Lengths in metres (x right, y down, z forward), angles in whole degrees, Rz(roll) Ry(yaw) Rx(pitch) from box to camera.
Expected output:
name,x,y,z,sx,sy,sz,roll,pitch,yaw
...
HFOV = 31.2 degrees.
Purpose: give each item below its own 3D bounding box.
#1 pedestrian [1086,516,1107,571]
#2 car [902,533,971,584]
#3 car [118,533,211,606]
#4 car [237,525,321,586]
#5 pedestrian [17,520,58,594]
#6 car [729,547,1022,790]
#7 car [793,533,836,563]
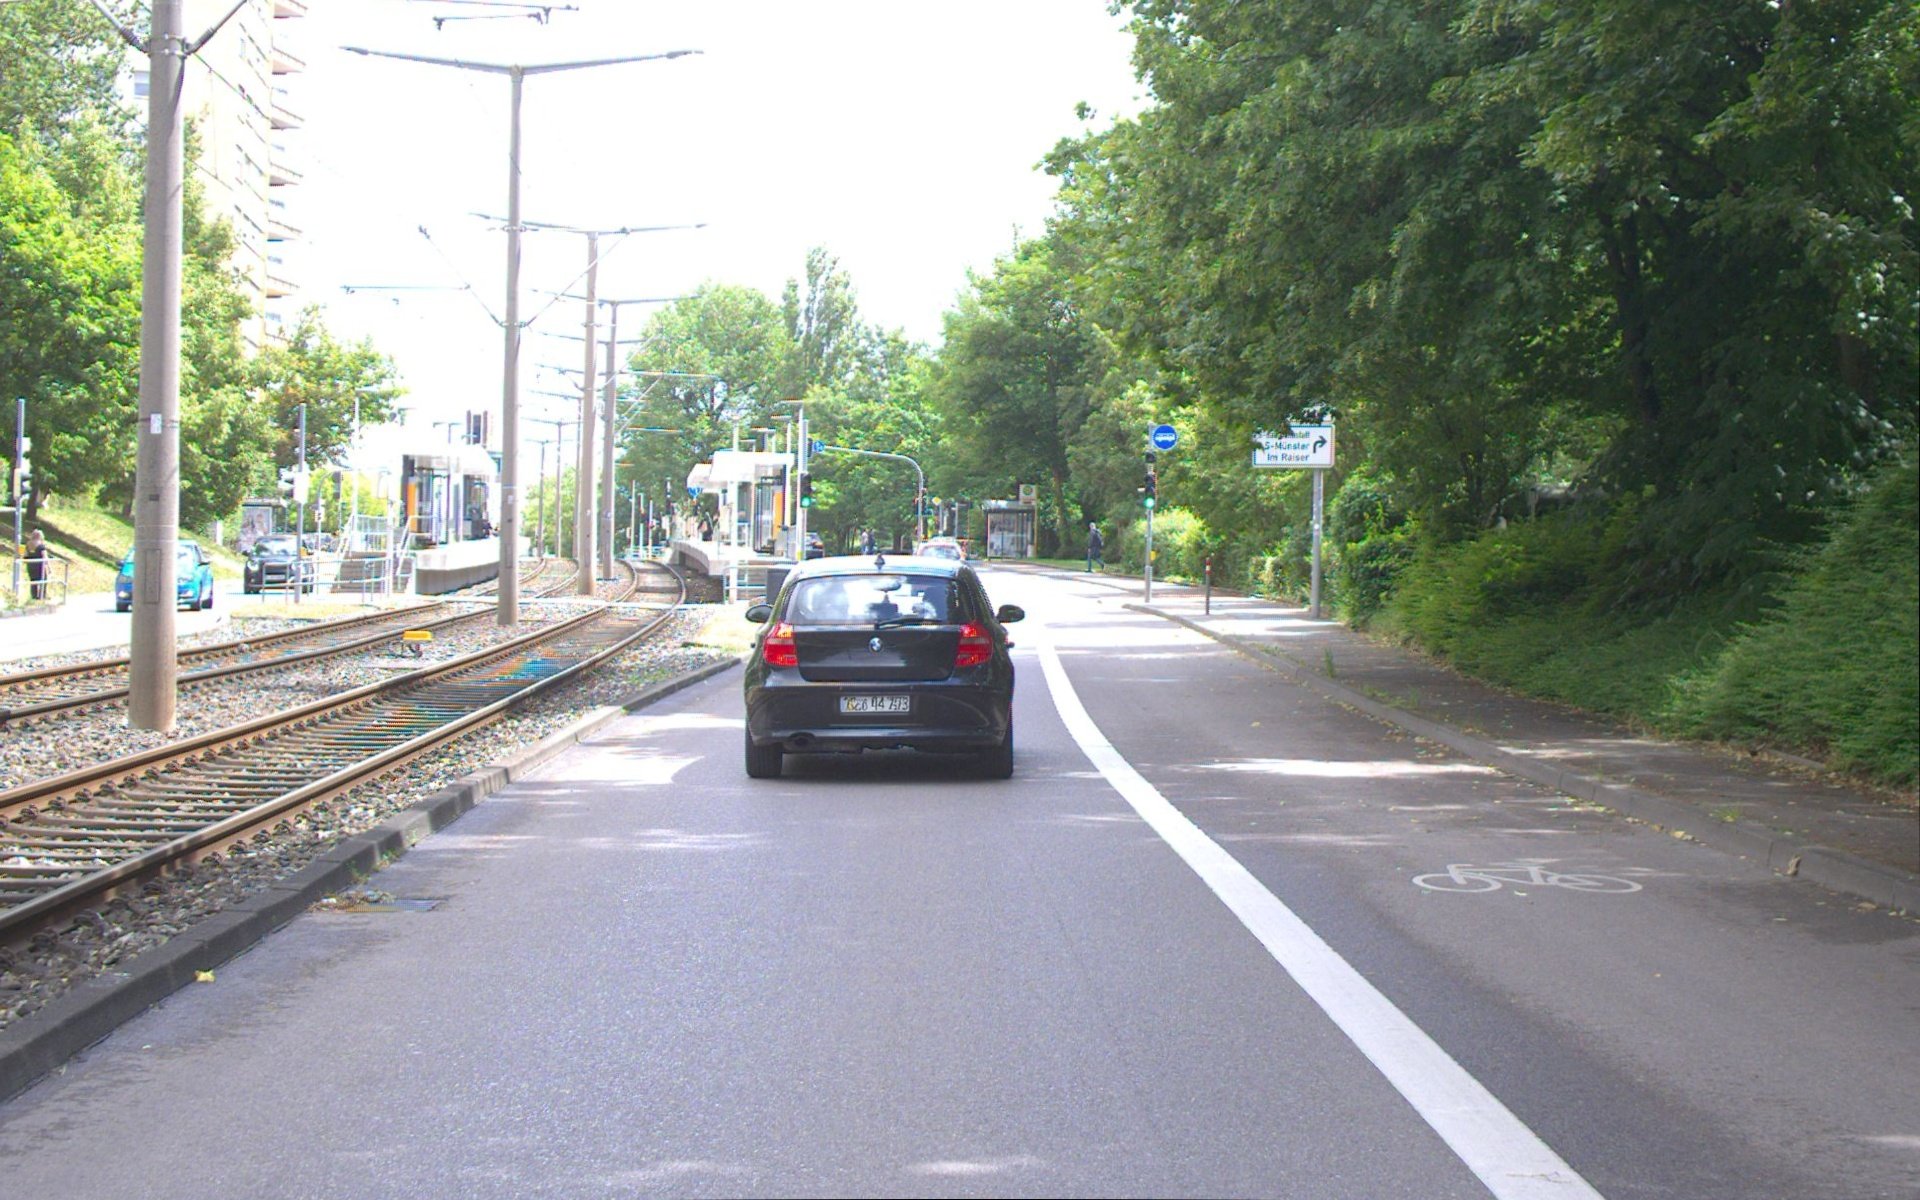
name,x,y,z,sx,sy,sz,roll,pitch,yaw
pedestrian,5.044,-2.088,126.731,0.740,2.007,0.681,1,1,1
car,-0.698,-1.238,100.769,1.781,1.454,3.922,0,1,-4
car,-16.134,-0.635,69.849,1.715,1.437,3.944,0,1,-11
car,-17.988,-1.185,90.969,1.715,1.559,3.698,0,1,-4
pedestrian,-19.051,-0.888,71.013,0.767,1.529,0.717,0,1,-19
car,-0.586,0.390,22.999,1.781,1.454,3.921,0,1,-2
car,-7.241,-2.570,170.620,1.909,1.454,4.003,0,1,-6
